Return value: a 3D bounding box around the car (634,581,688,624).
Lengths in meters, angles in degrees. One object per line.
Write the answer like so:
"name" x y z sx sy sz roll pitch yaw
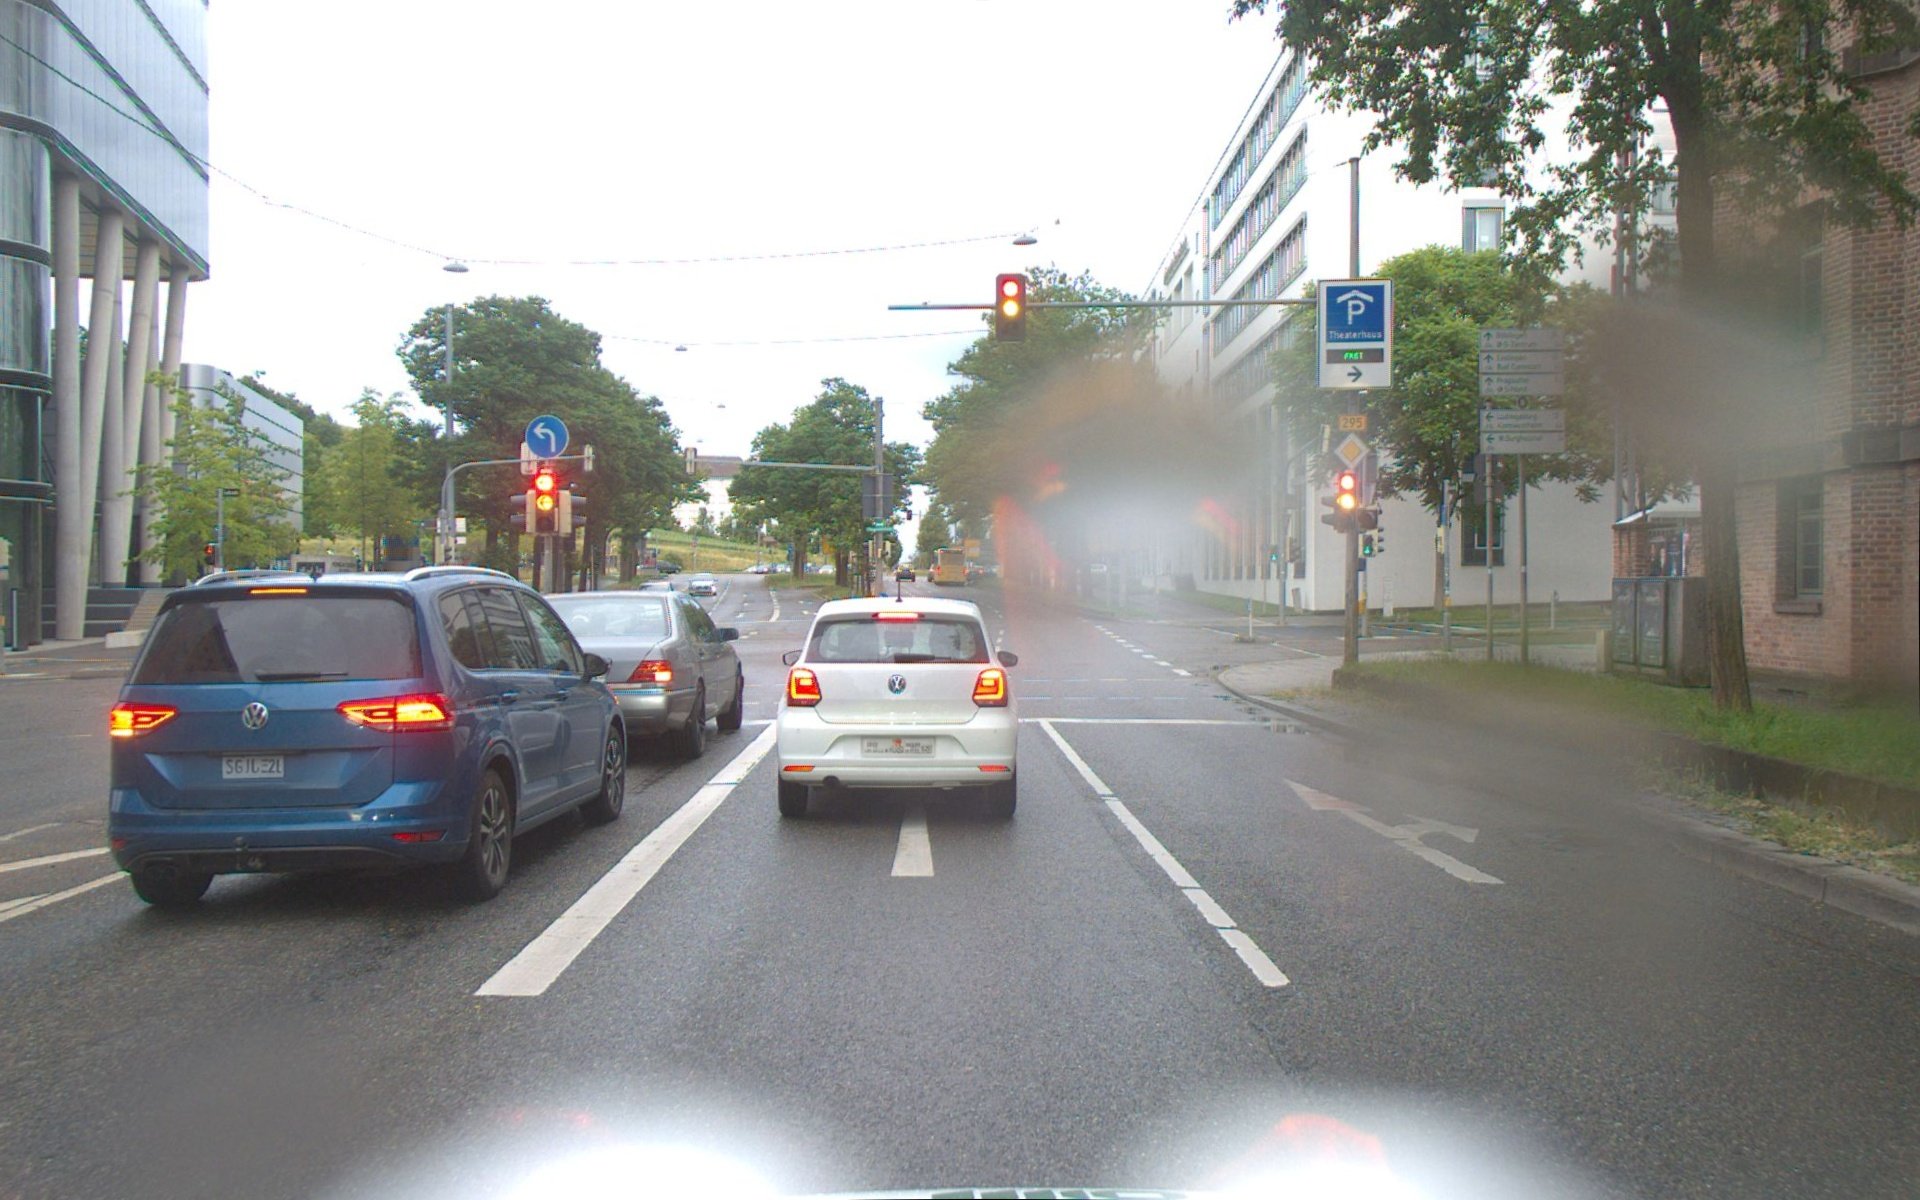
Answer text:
"car" -11.550 0.060 64.064 1.716 1.547 3.813 -1 1 -6

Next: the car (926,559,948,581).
"car" -2.206 -2.819 157.692 1.954 2.049 3.998 0 0 -3

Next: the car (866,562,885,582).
"car" -8.120 -2.675 158.231 1.759 1.772 3.997 -1 1 -4

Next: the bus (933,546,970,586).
"bus" -0.822 -2.974 144.259 2.771 3.323 9.996 0 1 -3

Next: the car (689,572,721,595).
"car" -16.997 -1.128 110.333 1.779 1.436 4.651 -2 1 -5

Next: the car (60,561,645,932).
"car" -3.103 0.637 9.460 1.736 1.624 4.198 -1 0 1

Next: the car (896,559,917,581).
"car" -5.064 -2.839 156.812 1.954 2.049 3.998 0 0 -3

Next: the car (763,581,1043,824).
"car" -0.411 0.636 12.431 1.758 1.528 3.999 0 0 -2

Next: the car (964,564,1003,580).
"car" 2.257 -2.634 156.709 1.670 1.542 3.804 0 0 42

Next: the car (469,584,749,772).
"car" -3.196 0.641 15.874 1.809 1.537 4.048 -1 0 0
